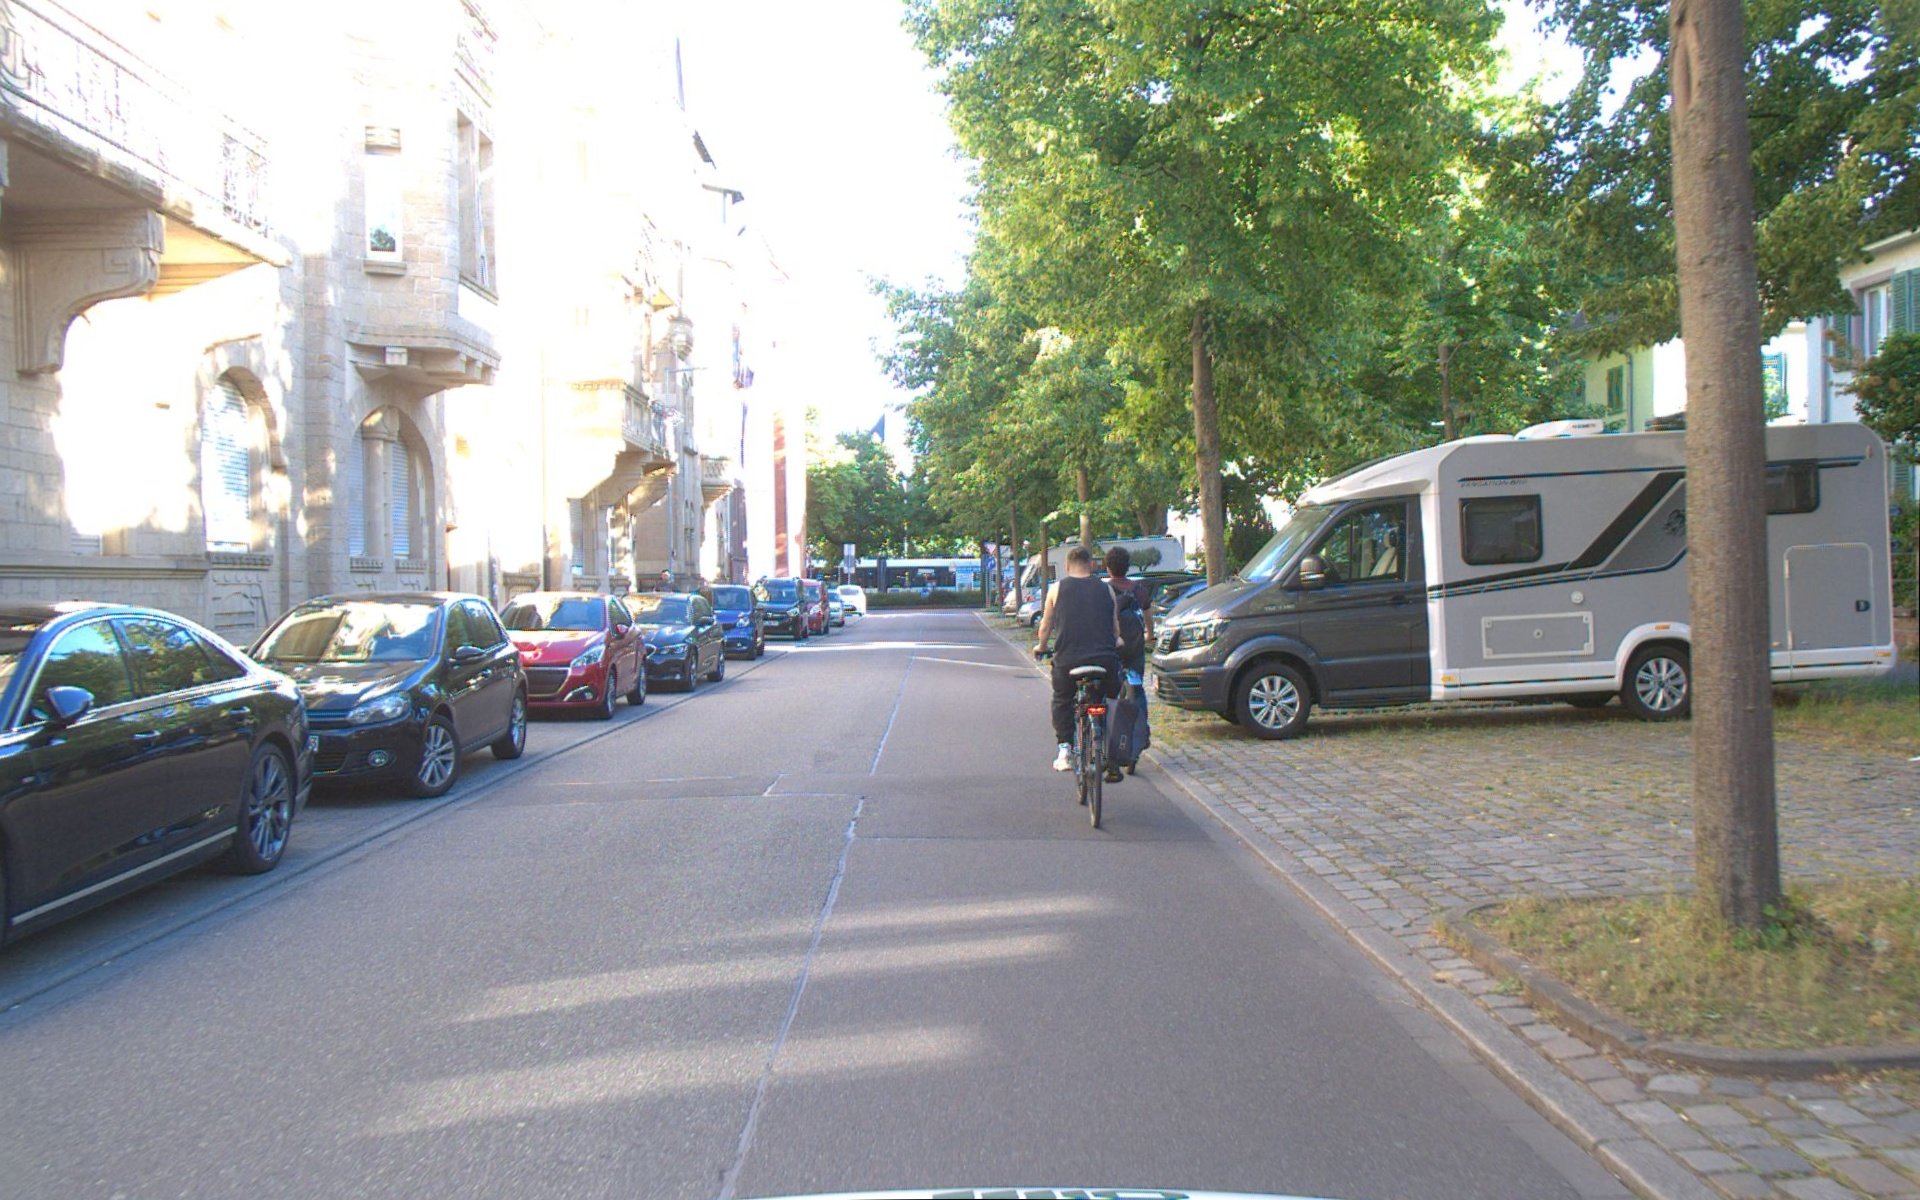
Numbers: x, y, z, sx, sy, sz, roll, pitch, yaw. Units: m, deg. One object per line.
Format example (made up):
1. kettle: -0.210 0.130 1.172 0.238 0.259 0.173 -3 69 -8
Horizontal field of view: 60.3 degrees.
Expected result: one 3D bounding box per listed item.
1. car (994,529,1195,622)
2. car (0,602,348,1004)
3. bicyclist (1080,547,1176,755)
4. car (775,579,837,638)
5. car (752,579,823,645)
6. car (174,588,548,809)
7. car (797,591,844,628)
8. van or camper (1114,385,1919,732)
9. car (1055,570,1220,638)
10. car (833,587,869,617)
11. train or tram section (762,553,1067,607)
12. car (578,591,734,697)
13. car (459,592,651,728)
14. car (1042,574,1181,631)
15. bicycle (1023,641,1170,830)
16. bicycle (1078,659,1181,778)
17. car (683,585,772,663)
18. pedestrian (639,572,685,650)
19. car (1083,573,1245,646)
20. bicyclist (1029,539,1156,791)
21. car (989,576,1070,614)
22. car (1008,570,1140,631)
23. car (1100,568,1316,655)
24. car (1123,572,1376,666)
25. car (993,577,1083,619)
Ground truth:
1. car: 4.905 -0.899 61.024 7.006 3.030 2.463 -3 0 -4
2. car: -4.513 0.769 7.406 1.774 1.451 4.897 2 0 -1
3. bicyclist: 1.372 0.401 13.641 0.675 1.655 0.998 0 0 0
4. car: -5.156 0.238 55.777 1.654 1.857 4.272 1 1 0
5. car: -5.047 0.301 48.752 1.607 1.814 4.354 1 1 0
6. car: -4.589 0.677 13.314 1.662 1.479 4.026 -1 0 -2
7. car: -5.598 0.377 66.680 1.551 1.367 4.131 1 1 0
8. van or camper: 5.157 -0.376 16.037 7.000 2.693 2.465 -3 0 1
9. car: 4.531 0.118 42.591 4.053 1.628 1.702 -1 -2 1
10. car: -5.524 0.087 84.044 1.551 1.399 4.131 1 1 0
11. train or tram section: -3.224 -1.413 126.602 23.485 3.773 4.255 1 0 -24
12. car: -4.743 0.636 26.416 1.641 1.455 4.550 1 1 0
13. car: -4.848 0.661 20.276 1.596 1.478 3.835 0 1 -3
14. car: 4.641 0.097 50.993 4.056 1.628 1.701 -1 -1 -3
15. bicycle: 0.847 0.832 10.807 0.722 1.072 1.955 1 0 -2
16. bicycle: 1.370 0.943 13.657 0.620 0.813 1.832 -1 1 -1
17. car: -4.945 0.489 35.452 1.563 1.514 2.735 3 1 -2
18. pedestrian: -6.836 0.251 37.970 0.919 1.773 0.735 0 0 -1
19. car: 4.886 0.238 40.035 3.695 1.628 1.691 -1 -2 1
20. bicyclist: 0.853 0.410 10.856 0.715 1.575 0.884 1 -1 -2
21. car: 3.497 -0.257 83.219 3.907 1.835 1.833 0 0 -3
22. car: 3.672 0.006 53.654 4.002 1.678 1.640 -4 0 -3
23. car: 4.989 0.248 33.646 4.136 1.628 1.691 -1 -2 1
24. car: 4.877 0.310 28.149 3.953 1.479 1.689 -1 0 -5
25. car: 3.543 -0.085 75.332 3.907 1.835 1.833 0 0 -3
